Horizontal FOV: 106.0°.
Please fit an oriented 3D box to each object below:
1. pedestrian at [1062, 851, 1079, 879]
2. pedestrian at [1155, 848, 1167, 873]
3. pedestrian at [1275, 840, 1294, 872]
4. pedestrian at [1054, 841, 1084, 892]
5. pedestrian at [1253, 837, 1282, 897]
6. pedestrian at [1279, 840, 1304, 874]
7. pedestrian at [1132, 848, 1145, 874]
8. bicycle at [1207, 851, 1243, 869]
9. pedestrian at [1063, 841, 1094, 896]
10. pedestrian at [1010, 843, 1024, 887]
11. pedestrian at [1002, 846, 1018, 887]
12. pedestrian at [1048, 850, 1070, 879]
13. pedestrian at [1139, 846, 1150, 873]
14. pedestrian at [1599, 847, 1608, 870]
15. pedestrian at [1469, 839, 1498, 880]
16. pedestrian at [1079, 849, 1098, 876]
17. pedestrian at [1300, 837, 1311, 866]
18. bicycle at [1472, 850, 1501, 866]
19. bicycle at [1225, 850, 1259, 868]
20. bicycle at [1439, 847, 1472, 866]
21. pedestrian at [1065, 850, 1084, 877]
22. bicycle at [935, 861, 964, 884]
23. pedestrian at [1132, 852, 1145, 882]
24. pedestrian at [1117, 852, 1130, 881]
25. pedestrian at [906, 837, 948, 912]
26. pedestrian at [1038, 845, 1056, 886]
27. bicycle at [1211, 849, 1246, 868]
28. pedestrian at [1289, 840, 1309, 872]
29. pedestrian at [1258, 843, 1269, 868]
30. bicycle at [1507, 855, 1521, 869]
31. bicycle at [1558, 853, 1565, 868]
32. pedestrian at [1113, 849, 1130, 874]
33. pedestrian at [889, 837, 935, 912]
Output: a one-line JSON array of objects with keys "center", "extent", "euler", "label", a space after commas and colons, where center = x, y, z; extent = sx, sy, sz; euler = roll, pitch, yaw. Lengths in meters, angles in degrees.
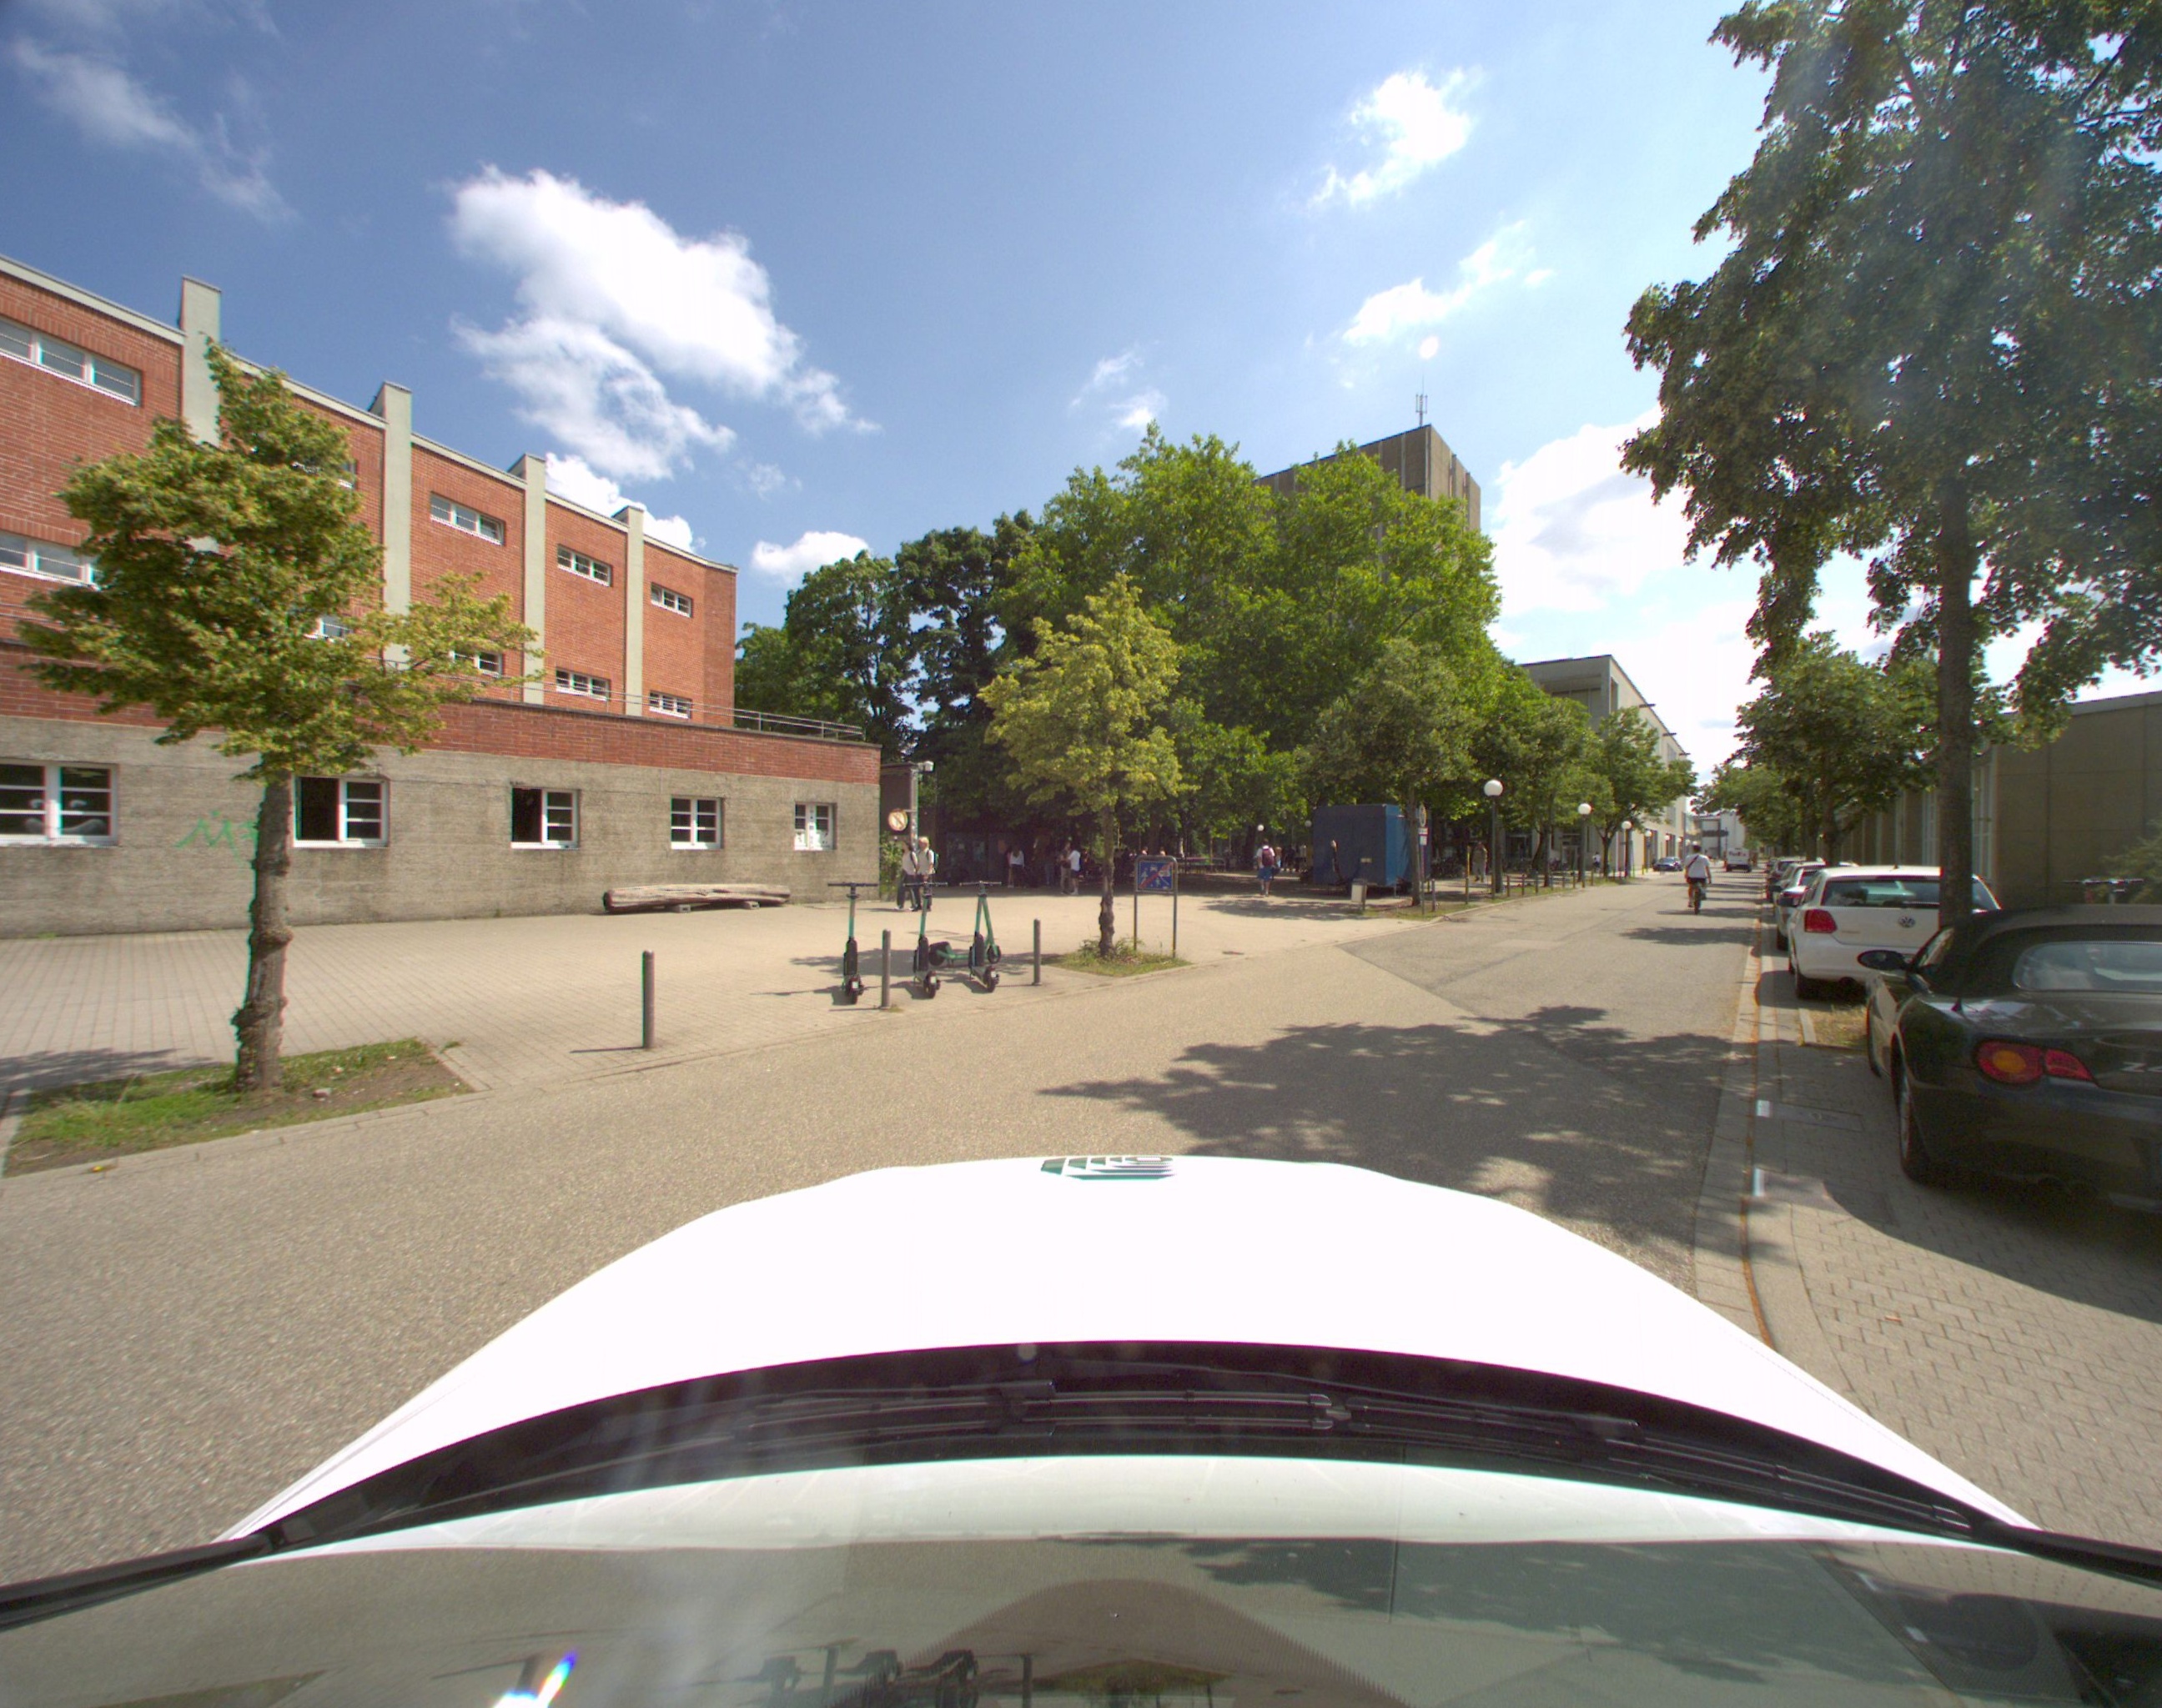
[{"center": [-0.522, 0.524, 39.800], "extent": [0.639, 1.323, 0.562], "euler": [0, 0, 42], "label": "pedestrian"}, {"center": [4.573, 0.369, 46.443], "extent": [0.500, 1.422, 0.463], "euler": [1, 1, 31], "label": "pedestrian"}, {"center": [13.087, 0.120, 52.295], "extent": [0.820, 1.948, 0.849], "euler": [2, 1, -12], "label": "pedestrian"}, {"center": [-0.420, 0.439, 27.748], "extent": [0.881, 1.720, 0.486], "euler": [2, -2, -22], "label": "pedestrian"}, {"center": [5.960, 0.396, 26.068], "extent": [0.846, 1.835, 0.881], "euler": [1, 2, 10], "label": "pedestrian"}, {"center": [12.408, 0.155, 48.052], "extent": [1.122, 1.948, 0.889], "euler": [2, 1, -12], "label": "pedestrian"}, {"center": [2.774, 0.339, 39.090], "extent": [0.590, 1.233, 0.744], "euler": [1, 2, 6], "label": "pedestrian"}, {"center": [8.529, 0.357, 48.254], "extent": [1.988, 1.008, 0.588], "euler": [0, 0, 32], "label": "bicycle"}, {"center": [-0.088, 0.489, 27.159], "extent": [0.881, 1.820, 0.446], "euler": [2, -2, -22], "label": "pedestrian"}, {"center": [-2.506, 0.437, 32.046], "extent": [0.527, 1.710, 0.448], "euler": [1, 2, -4], "label": "pedestrian"}, {"center": [-2.829, 0.502, 32.491], "extent": [0.602, 1.593, 0.412], "euler": [1, 2, -1], "label": "pedestrian"}, {"center": [-1.045, 0.493, 38.922], "extent": [0.681, 1.323, 0.783], "euler": [0, 0, 42], "label": "pedestrian"}, {"center": [3.655, 0.293, 46.927], "extent": [0.500, 1.522, 0.477], "euler": [1, 1, 30], "label": "pedestrian"}, {"center": [45.246, 0.371, 70.523], "extent": [0.410, 1.941, 0.665], "euler": [1, 1, 12], "label": "pedestrian"}, {"center": [19.857, 0.260, 40.214], "extent": [0.896, 1.954, 0.910], "euler": [1, 2, -40], "label": "pedestrian"}, {"center": [0.348, 0.392, 39.019], "extent": [0.555, 1.271, 0.697], "euler": [1, 1, 41], "label": "pedestrian"}, {"center": [14.997, -0.166, 54.393], "extent": [0.588, 1.904, 0.516], "euler": [0, 0, -8], "label": "pedestrian"}, {"center": [32.073, 0.301, 64.441], "extent": [2.003, 1.254, 0.589], "euler": [-1, 0, 8], "label": "bicycle"}, {"center": [9.977, 0.316, 50.400], "extent": [1.988, 1.118, 0.588], "euler": [0, 0, 32], "label": "bicycle"}, {"center": [29.801, 0.179, 64.793], "extent": [2.270, 1.450, 0.608], "euler": [1, 0, 7], "label": "bicycle"}, {"center": [-0.294, 0.432, 38.280], "extent": [0.555, 1.271, 0.697], "euler": [1, 1, 41], "label": "pedestrian"}, {"center": [-5.275, 0.730, 32.713], "extent": [0.301, 0.883, 1.239], "euler": [0, 0, 42], "label": "bicycle"}, {"center": [2.696, 0.595, 38.261], "extent": [0.590, 1.369, 0.744], "euler": [1, 2, 6], "label": "pedestrian"}, {"center": [2.011, 0.590, 38.637], "extent": [0.590, 1.369, 0.705], "euler": [1, 2, 6], "label": "pedestrian"}, {"center": [-3.674, 0.480, 19.503], "extent": [0.558, 1.762, 0.811], "euler": [0, 0, 40], "label": "pedestrian"}, {"center": [-1.393, 0.467, 33.669], "extent": [0.674, 1.650, 0.503], "euler": [1, 2, 1], "label": "pedestrian"}, {"center": [8.916, 0.273, 49.168], "extent": [1.988, 1.118, 0.588], "euler": [0, 0, 32], "label": "bicycle"}, {"center": [14.001, 0.119, 52.347], "extent": [0.918, 1.948, 0.889], "euler": [2, 1, -12], "label": "pedestrian"}, {"center": [12.215, 0.089, 54.469], "extent": [0.624, 1.670, 0.734], "euler": [1, 1, 22], "label": "pedestrian"}, {"center": [36.364, 0.648, 68.398], "extent": [0.547, 1.086, 1.985], "euler": [3, 2, 40], "label": "bicycle"}, {"center": [35.651, 0.479, 60.474], "extent": [0.378, 1.025, 1.826], "euler": [1, 0, 28], "label": "bicycle"}, {"center": [2.064, 0.374, 41.677], "extent": [0.563, 1.250, 0.772], "euler": [1, 1, 29], "label": "pedestrian"}, {"center": [-4.114, 0.489, 19.822], "extent": [0.570, 1.779, 0.923], "euler": [0, 0, 40], "label": "pedestrian"}]
